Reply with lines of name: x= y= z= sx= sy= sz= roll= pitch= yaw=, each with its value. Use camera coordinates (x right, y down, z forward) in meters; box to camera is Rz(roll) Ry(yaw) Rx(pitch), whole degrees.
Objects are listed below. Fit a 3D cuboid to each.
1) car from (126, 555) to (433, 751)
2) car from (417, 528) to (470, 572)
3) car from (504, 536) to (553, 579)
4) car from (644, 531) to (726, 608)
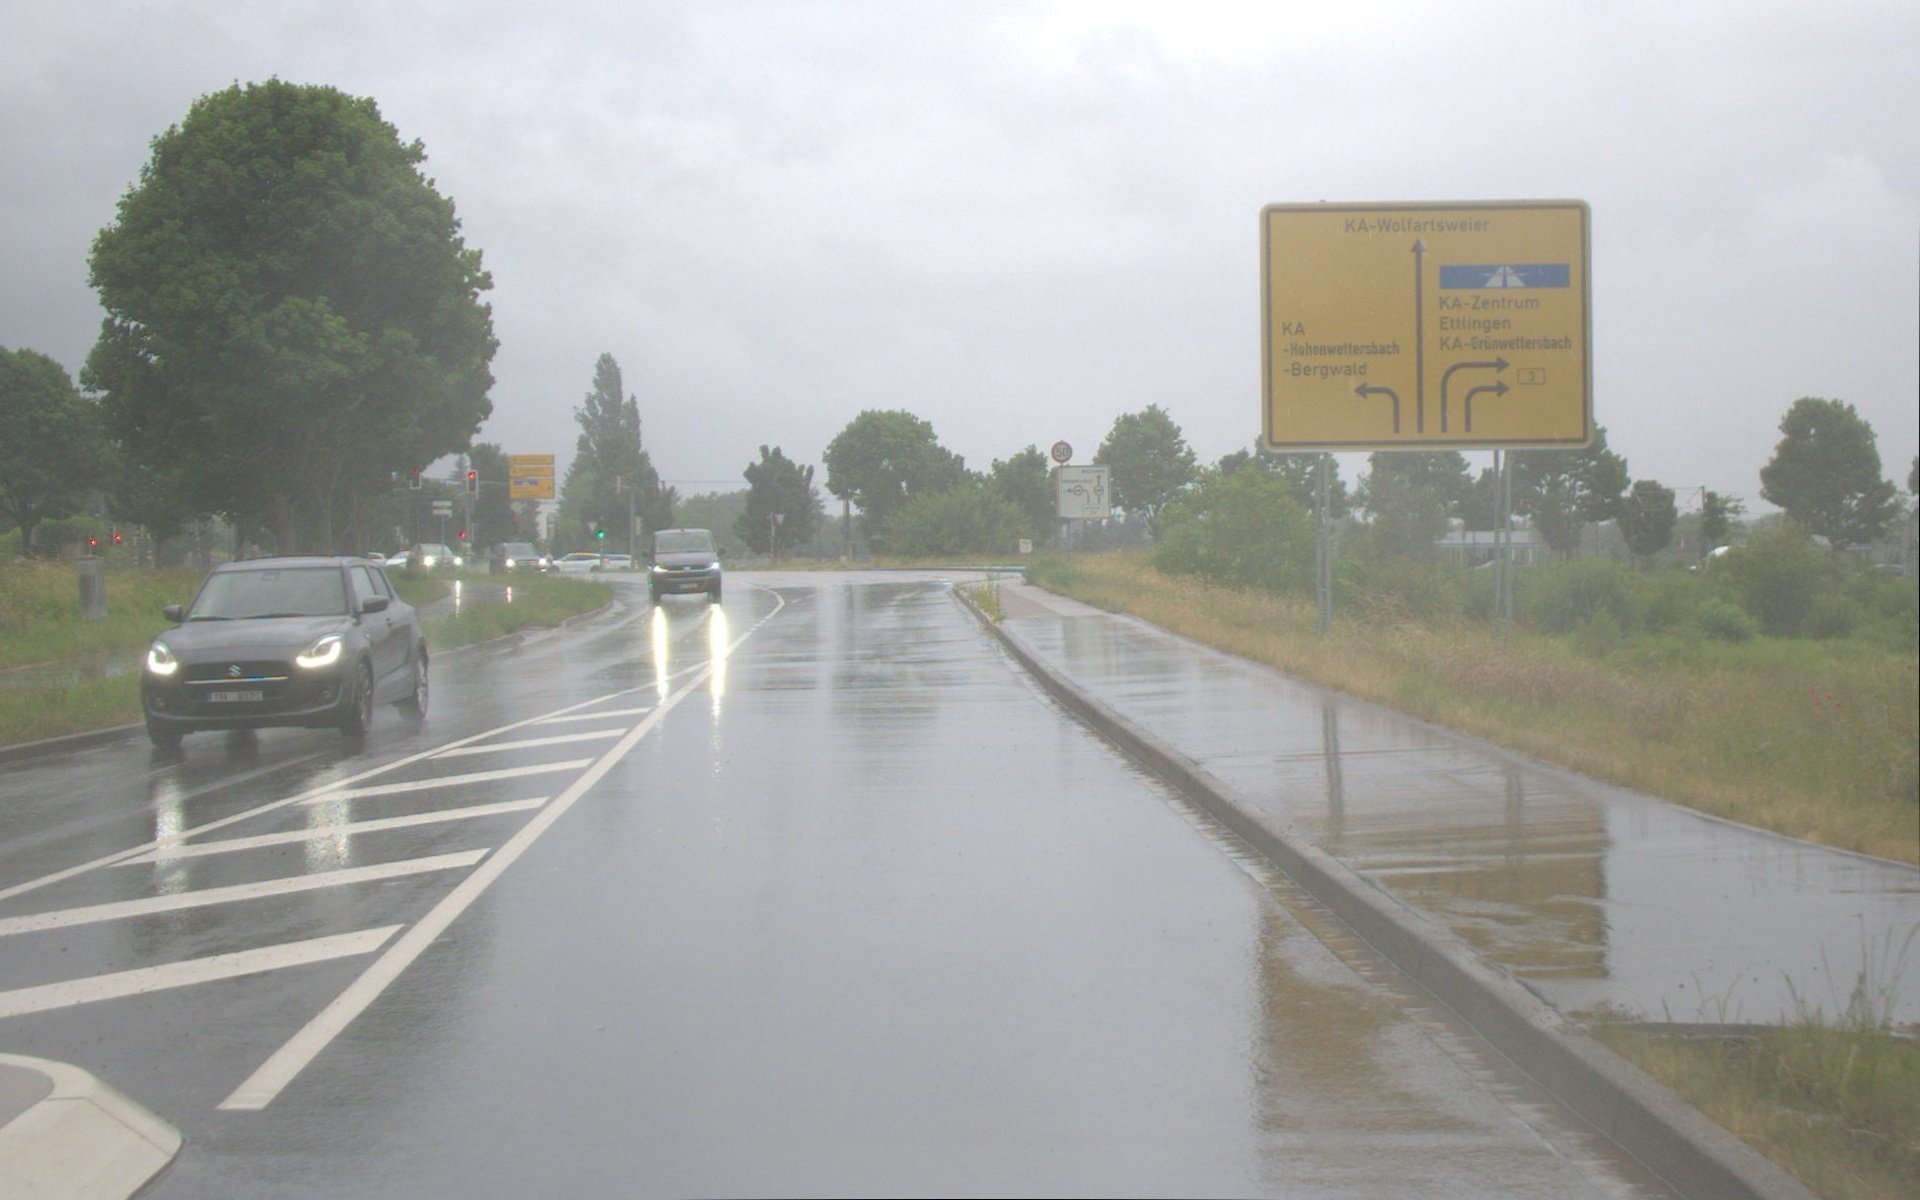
car: x=-5.540 y=0.386 z=28.420 sx=1.697 sy=1.397 sz=3.767 roll=-3 pitch=1 yaw=0
car: x=-25.306 y=-2.445 z=168.371 sx=1.993 sy=2.007 sz=4.002 roll=3 pitch=1 yaw=-16
car: x=-18.732 y=-1.862 z=149.258 sx=1.905 sy=1.715 sz=4.001 roll=-4 pitch=2 yaw=-8
car: x=-7.541 y=-0.870 z=94.603 sx=1.993 sy=1.965 sz=4.958 roll=-3 pitch=1 yaw=-2
